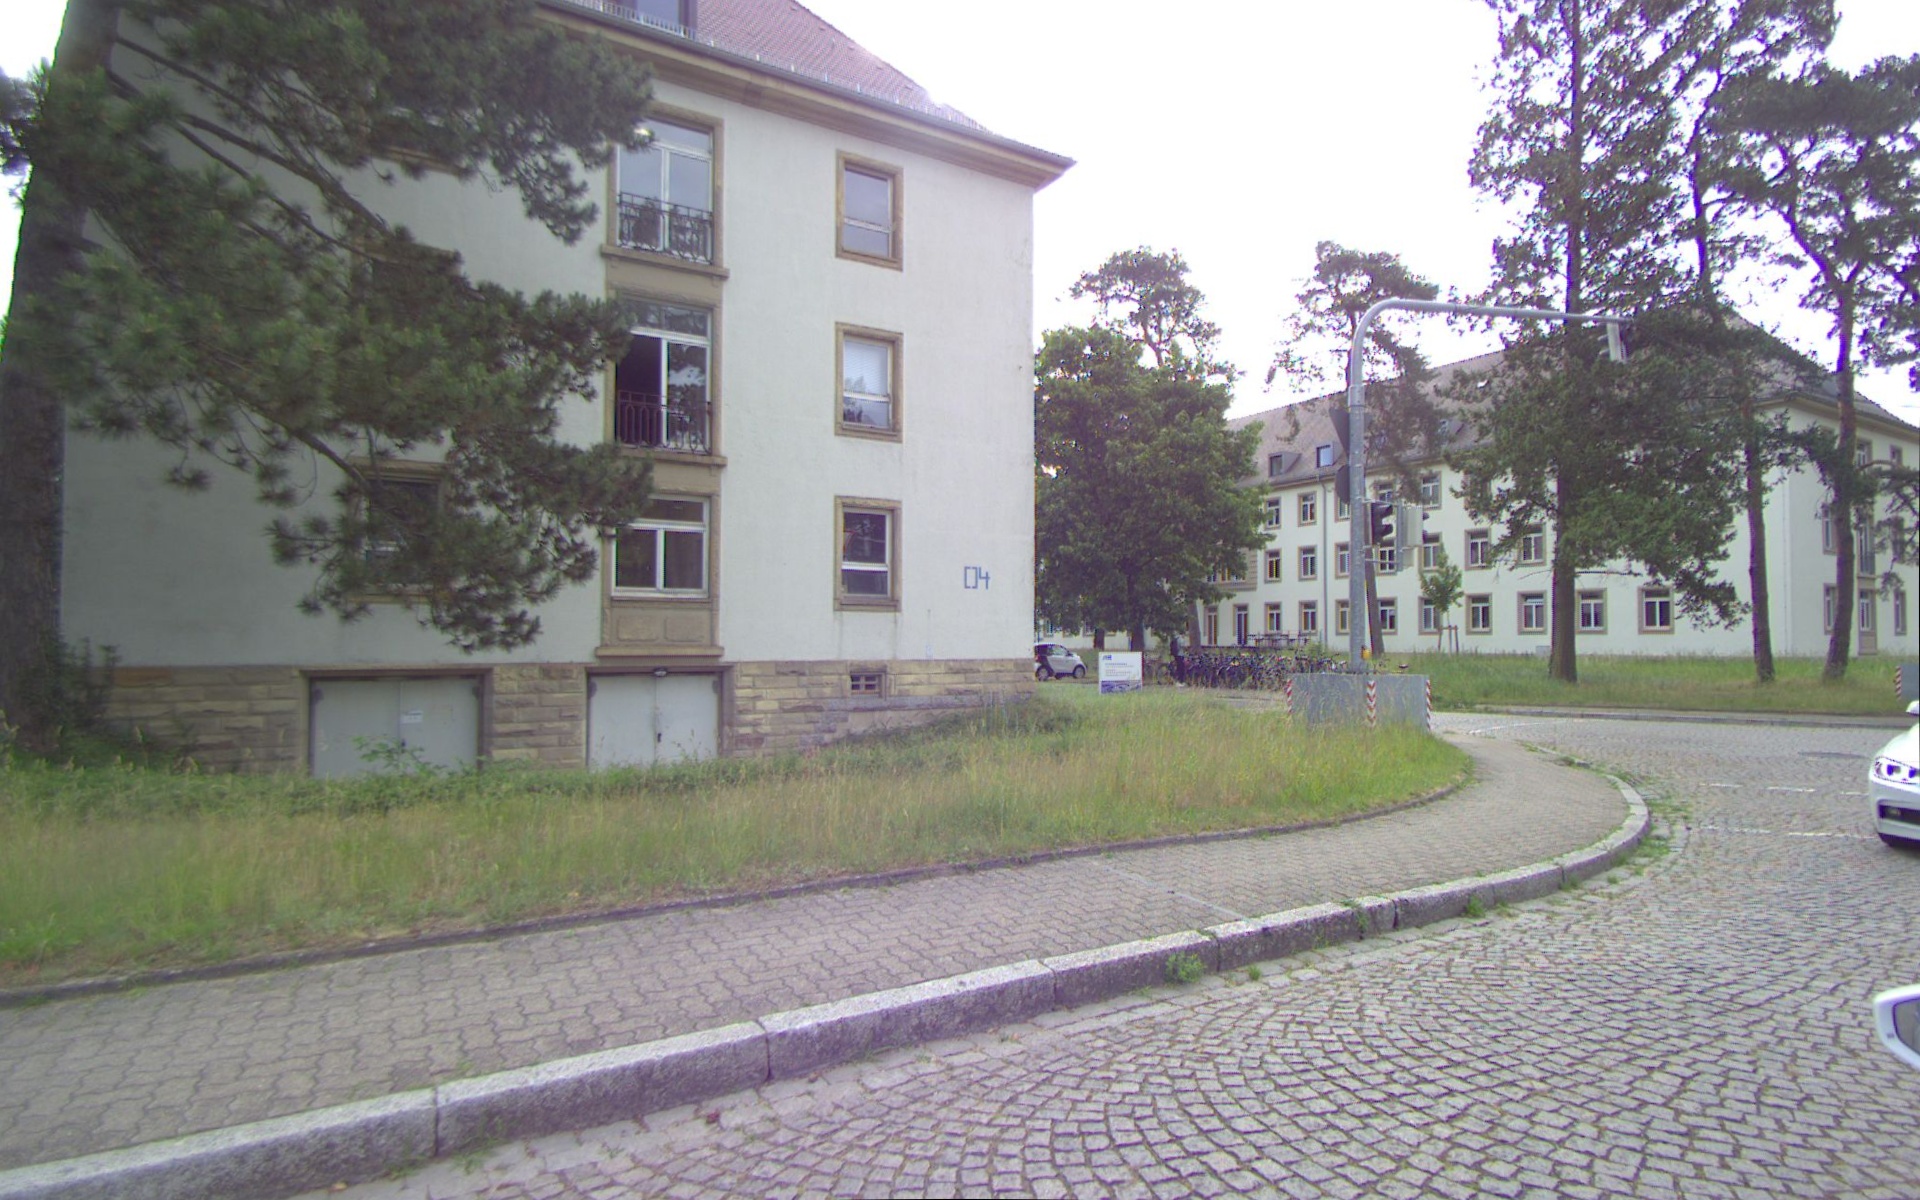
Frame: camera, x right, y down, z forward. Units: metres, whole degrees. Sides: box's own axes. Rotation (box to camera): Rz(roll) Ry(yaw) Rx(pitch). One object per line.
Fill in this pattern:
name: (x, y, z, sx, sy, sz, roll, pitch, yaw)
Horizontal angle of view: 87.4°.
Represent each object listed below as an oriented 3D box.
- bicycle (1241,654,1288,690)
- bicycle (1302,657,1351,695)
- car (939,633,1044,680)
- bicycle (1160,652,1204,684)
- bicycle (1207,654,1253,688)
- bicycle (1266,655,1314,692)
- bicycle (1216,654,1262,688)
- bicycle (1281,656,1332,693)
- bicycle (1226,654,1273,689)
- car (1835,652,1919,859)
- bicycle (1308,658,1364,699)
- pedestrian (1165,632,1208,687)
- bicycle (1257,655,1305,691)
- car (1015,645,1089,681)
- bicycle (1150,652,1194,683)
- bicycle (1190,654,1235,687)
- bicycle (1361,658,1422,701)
bicycle: (9.643, 2.265, 31.782, 1.567, 1.093, 0.512, 2, -3, -31)
bicycle: (10.860, 2.237, 29.751, 1.569, 1.093, 0.511, 2, -3, -34)
car: (1.483, 2.506, 45.018, 4.878, 1.977, 1.839, 2, -2, -44)
bicycle: (7.750, 2.372, 35.051, 1.567, 1.093, 0.512, 2, -3, -31)
bicycle: (8.883, 2.330, 33.024, 1.567, 1.093, 0.512, 2, -3, -31)
bicycle: (10.174, 2.248, 30.947, 1.567, 1.093, 0.512, 2, -3, -31)
bicycle: (9.082, 2.298, 32.696, 1.567, 1.093, 0.512, 2, -3, -31)
bicycle: (10.447, 2.240, 30.291, 1.565, 1.093, 0.512, 1, -3, -28)
bicycle: (9.314, 2.291, 32.309, 1.567, 1.093, 0.512, 2, -3, -31)
car: (8.784, 1.104, 7.835, 4.171, 1.456, 1.765, 1, -5, -32)
bicycle: (10.401, 2.156, 27.813, 0.510, 1.093, 1.457, 2, -3, -32)
pedestrian: (7.636, 2.000, 33.903, 1.135, 1.812, 1.064, -1, -2, -2)
bicycle: (9.997, 2.250, 31.262, 1.567, 1.093, 0.512, 2, -3, -31)
car: (3.893, 2.656, 42.472, 2.756, 1.446, 1.509, 2, -2, -31)
bicycle: (7.491, 2.376, 35.479, 1.567, 1.093, 0.512, 2, -3, -31)
bicycle: (8.485, 2.353, 33.712, 1.567, 1.093, 0.512, 2, -3, -31)
bicycle: (11.359, 2.073, 26.487, 0.510, 1.079, 1.457, 2, -3, -32)
